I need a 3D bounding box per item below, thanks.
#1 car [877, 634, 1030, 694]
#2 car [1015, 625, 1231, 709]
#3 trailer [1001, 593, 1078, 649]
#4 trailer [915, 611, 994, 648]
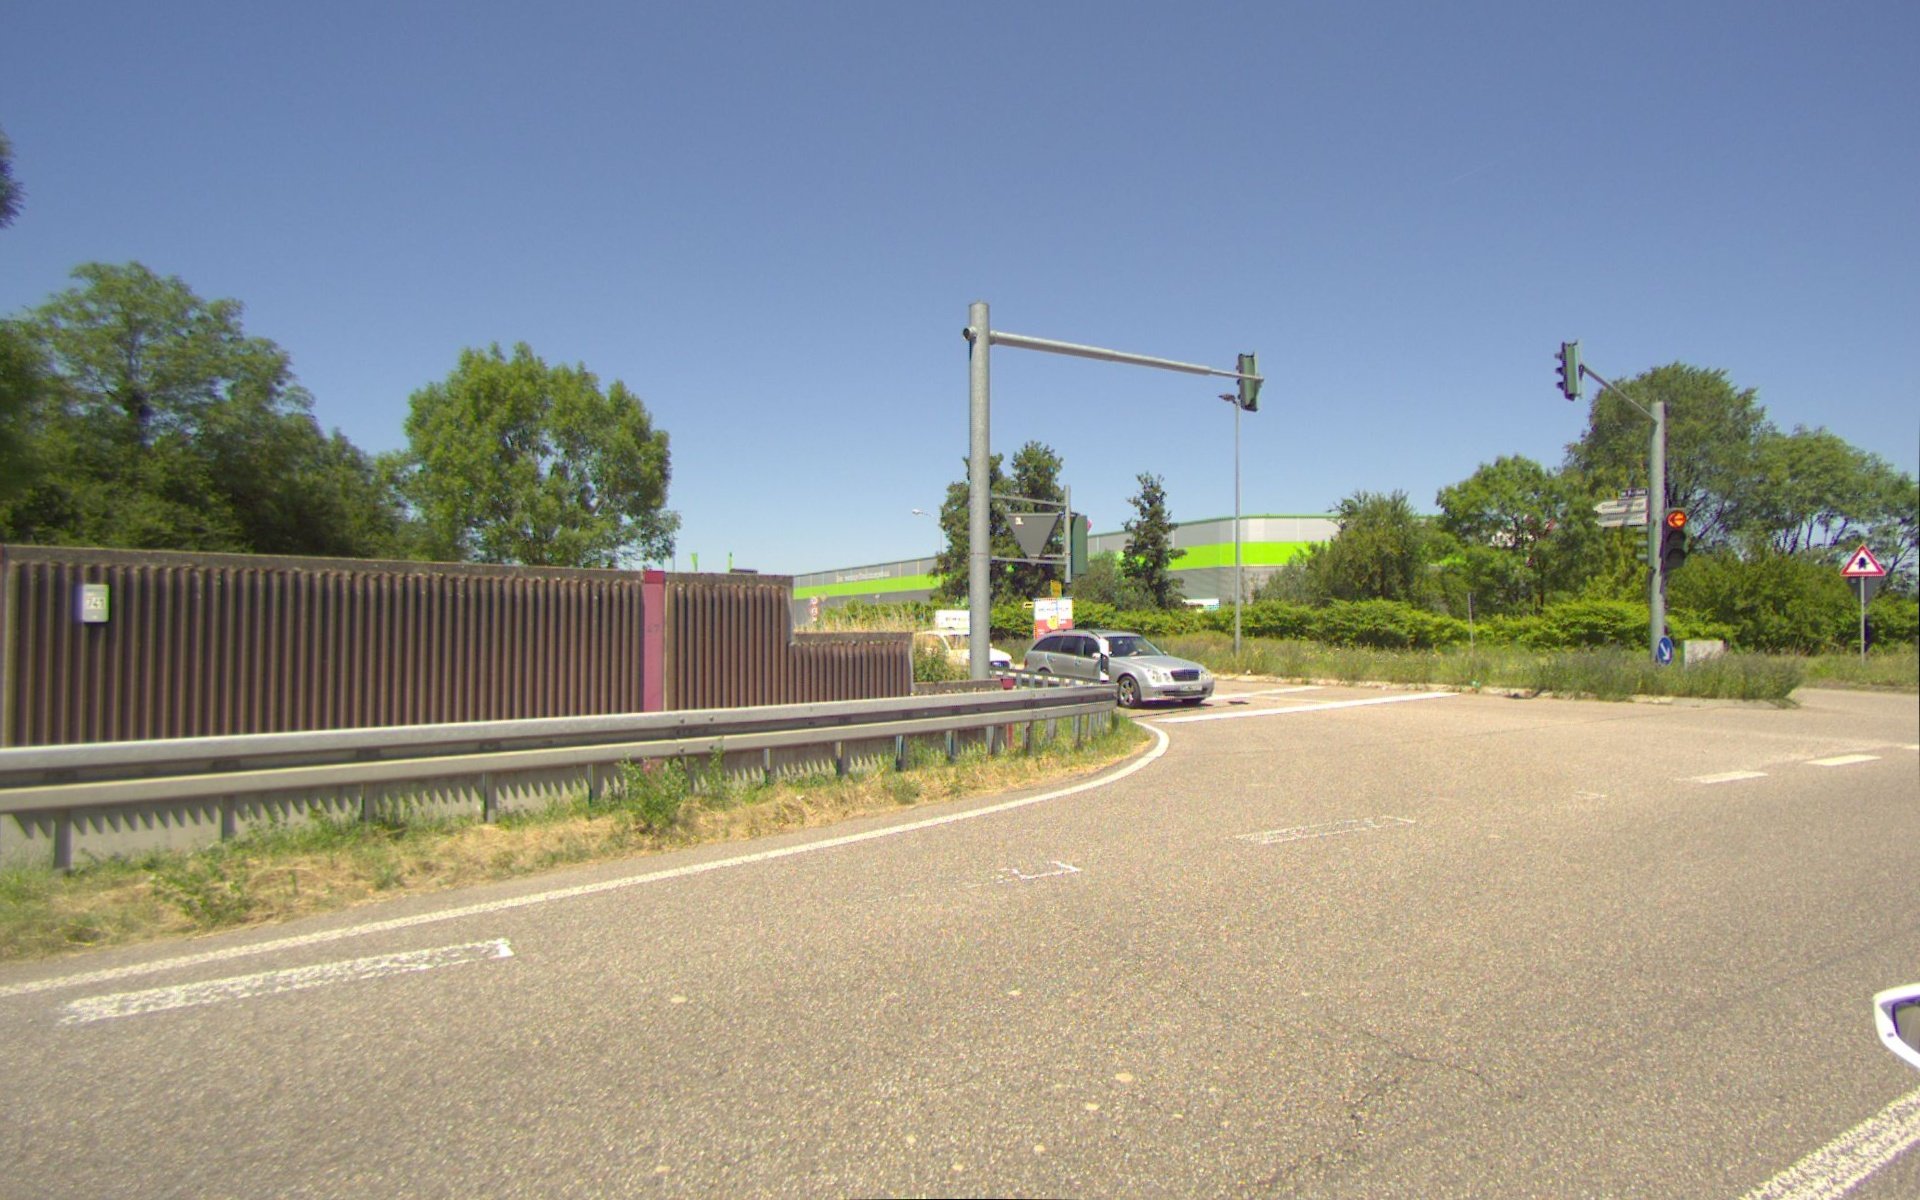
[{"bbox_3d":[-0.219,1.646,26.801,3.905,1.417,1.762,-1,-1,41],"label":"car"},{"bbox_3d":[3.206,1.292,20.906,1.854,1.476,4.935,1,-1,-28],"label":"car"},{"bbox_3d":[4.137,1.078,52.131,3.682,2.801,1.828,0,-1,14],"label":"trailer"},{"bbox_3d":[-0.285,1.493,51.570,3.683,1.815,1.827,0,-1,15],"label":"trailer"}]
